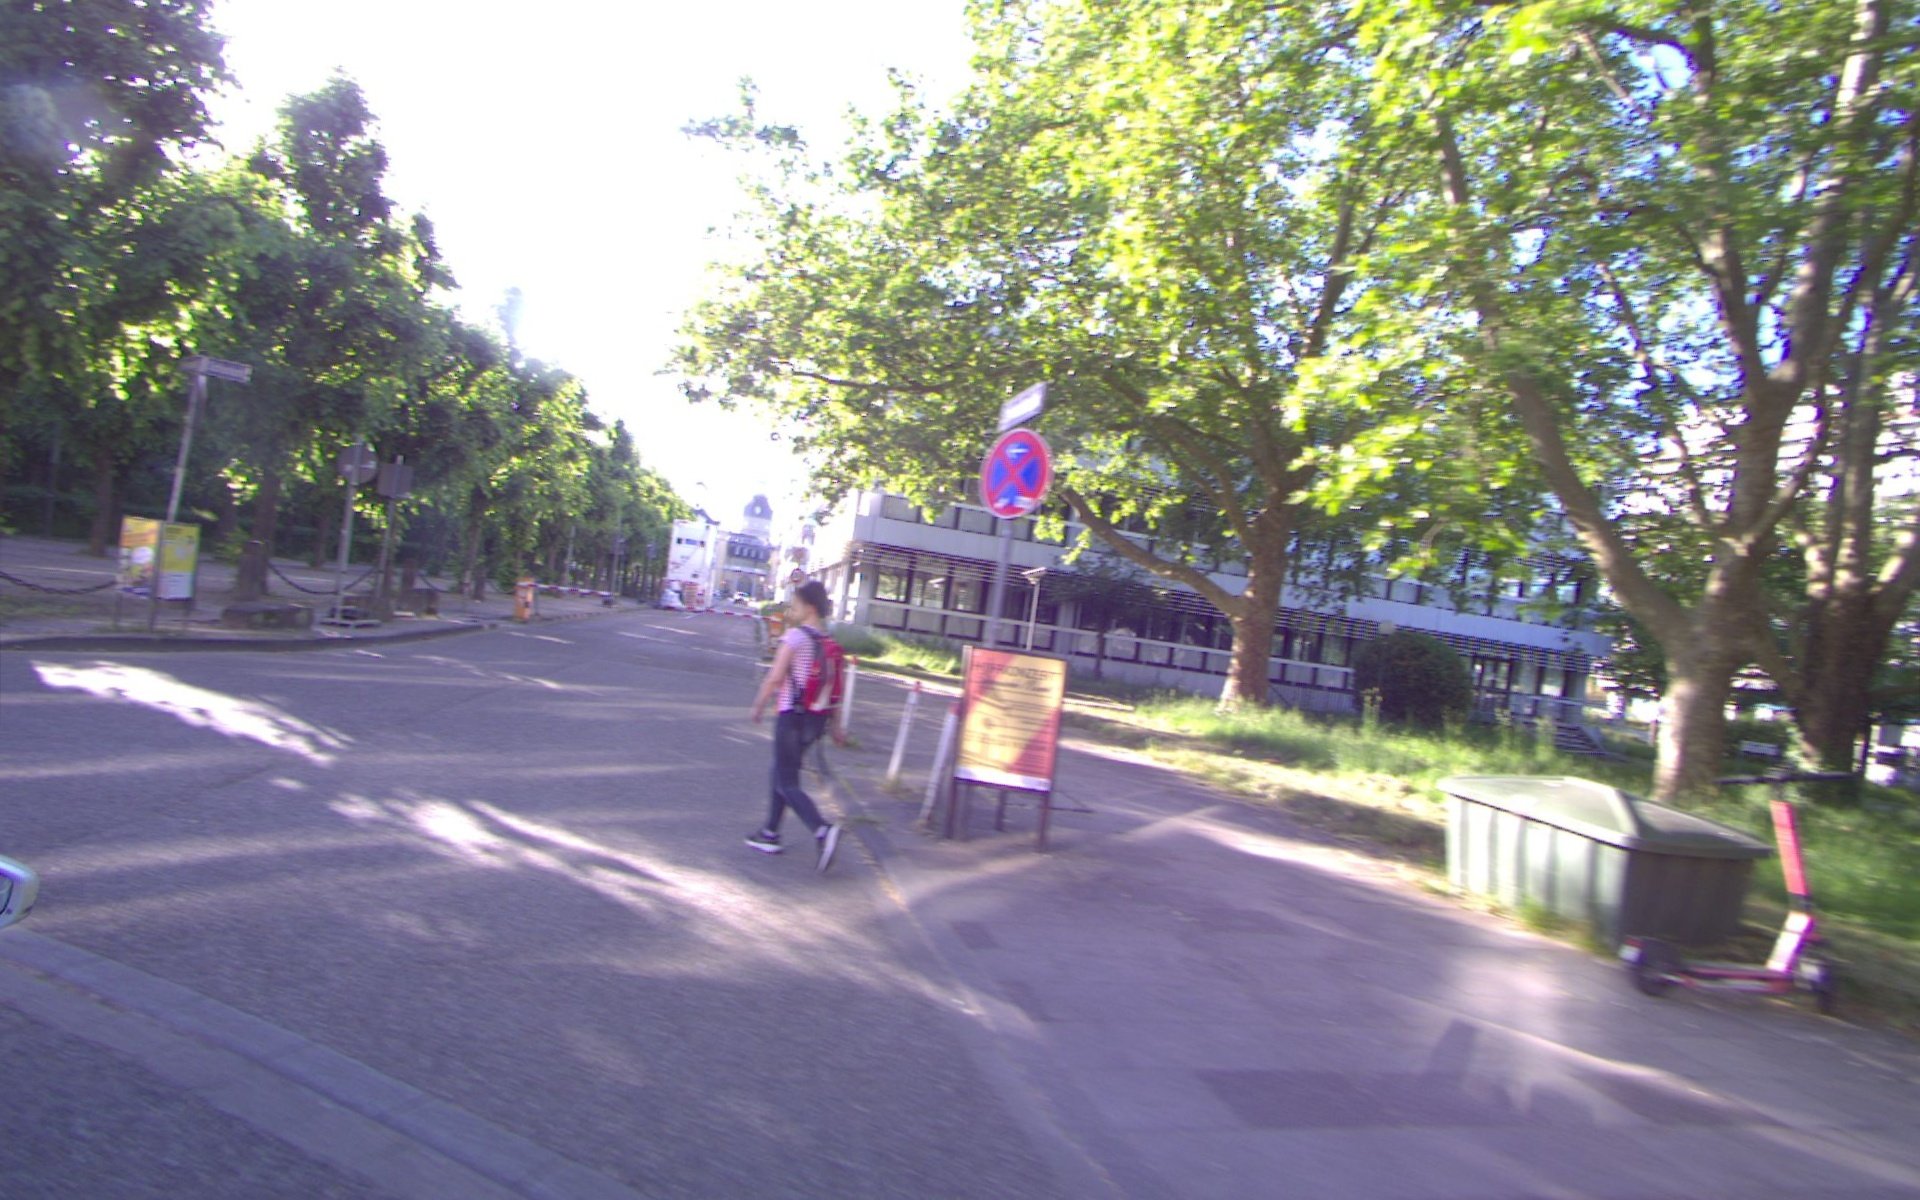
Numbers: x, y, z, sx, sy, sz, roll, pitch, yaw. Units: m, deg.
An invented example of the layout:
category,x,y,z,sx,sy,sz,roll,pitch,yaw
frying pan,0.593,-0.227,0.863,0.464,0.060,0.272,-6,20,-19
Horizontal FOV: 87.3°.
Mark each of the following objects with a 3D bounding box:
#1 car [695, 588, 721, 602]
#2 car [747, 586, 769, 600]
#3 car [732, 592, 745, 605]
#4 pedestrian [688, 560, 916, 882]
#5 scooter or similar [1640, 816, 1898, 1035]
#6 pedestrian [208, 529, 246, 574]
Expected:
category,x,y,z,sx,sy,sz,roll,pitch,yaw
car,-46.237,-0.861,184.734,4.502,1.811,1.995,9,-1,-13
car,-40.009,-1.383,199.204,3.933,2.037,1.997,9,-1,-8
car,-27.721,-0.199,125.827,1.436,1.516,3.991,8,-1,-12
pedestrian,-0.920,0.655,5.788,0.706,1.642,0.927,8,-1,-43
scooter or similar,4.036,1.605,5.019,1.134,0.925,0.418,7,-1,-20
pedestrian,-28.270,-1.876,38.819,0.826,1.602,0.679,8,0,-15
